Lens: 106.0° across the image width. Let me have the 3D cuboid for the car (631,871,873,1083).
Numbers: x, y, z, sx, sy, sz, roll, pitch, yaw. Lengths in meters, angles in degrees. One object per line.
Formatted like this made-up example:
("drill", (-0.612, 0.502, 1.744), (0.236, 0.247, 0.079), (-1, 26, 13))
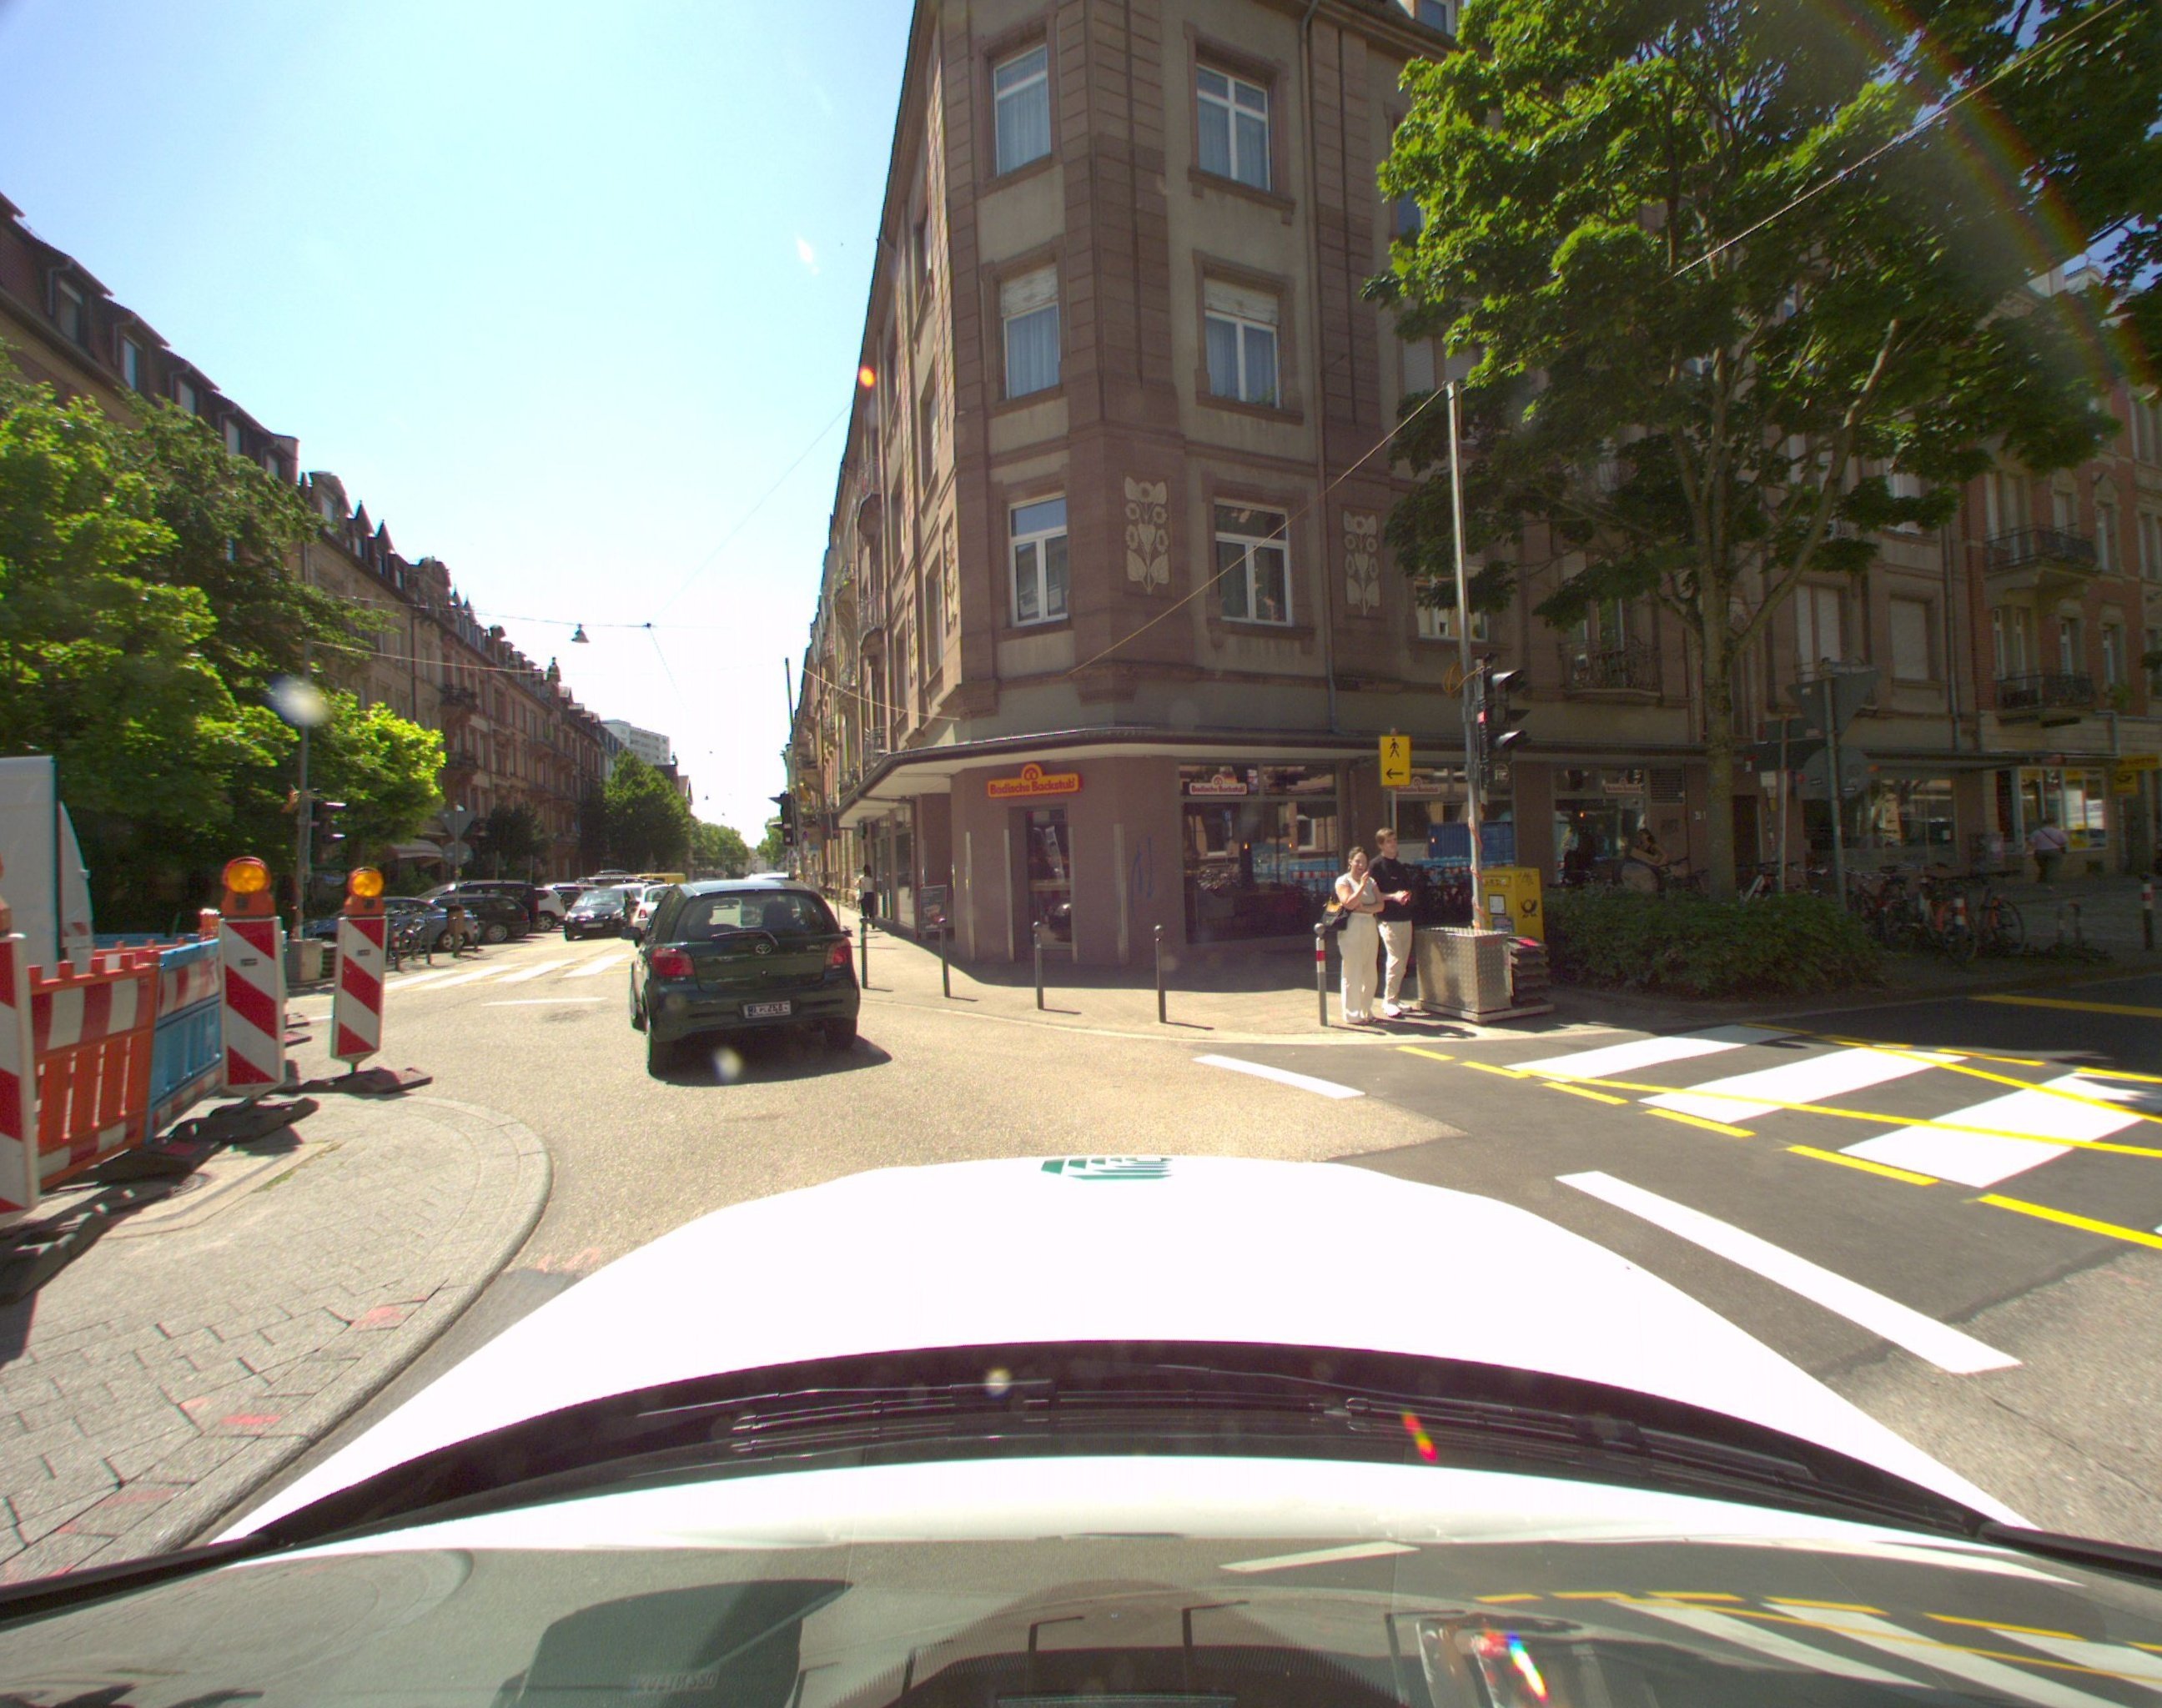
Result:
("car", (-3.242, 0.945, 7.672), (1.624, 1.485, 3.208), (-1, -1, -31))

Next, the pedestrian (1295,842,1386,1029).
("pedestrian", (2.449, 0.733, 7.675), (0.706, 1.645, 0.419), (-4, 3, -30))

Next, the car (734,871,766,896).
("car", (-21.167, 1.894, 52.195), (1.761, 1.429, 3.970), (-3, -1, -22))

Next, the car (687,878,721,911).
("car", (-20.117, 2.149, 43.530), (1.529, 1.592, 3.238), (-2, -1, -23))

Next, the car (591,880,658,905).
("car", (-32.874, 2.760, 58.691), (1.763, 1.640, 3.898), (-3, -1, 45))

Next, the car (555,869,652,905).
("car", (-30.032, 2.057, 51.325), (2.027, 1.994, 4.819), (-3, -1, 39))

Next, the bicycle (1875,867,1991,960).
("bicycle", (10.400, 0.691, 9.932), (1.769, 0.996, 0.466), (-2, 1, -26))

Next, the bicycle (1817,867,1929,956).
("bicycle", (10.188, 0.705, 10.463), (1.769, 0.996, 0.466), (-2, 1, -26))

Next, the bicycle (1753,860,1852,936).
("bicycle", (10.722, 0.627, 12.087), (1.769, 0.996, 0.466), (-2, 1, -26))

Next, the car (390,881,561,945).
("car", (-19.066, 1.781, 25.808), (1.746, 1.804, 4.025), (-2, -2, 39))

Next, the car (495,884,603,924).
("car", (-25.045, 2.337, 38.438), (1.842, 1.619, 3.946), (-3, -1, 44))

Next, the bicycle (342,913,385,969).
("bicycle", (-15.817, 1.888, 17.986), (0.494, 1.081, 1.878), (1, -2, -35))

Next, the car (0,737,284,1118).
("car", (-10.834, 0.602, 5.971), (6.646, 2.751, 2.363), (-2, 0, -21))

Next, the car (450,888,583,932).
("car", (-22.569, 2.211, 32.689), (1.842, 1.470, 3.946), (-3, -1, 27))

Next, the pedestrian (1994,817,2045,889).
("pedestrian", (21.405, -0.024, 18.572), (0.492, 1.614, 0.556), (-2, -1, -17))

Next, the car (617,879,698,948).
("car", (-10.749, 1.445, 20.843), (1.529, 1.521, 3.239), (-2, -1, -23))

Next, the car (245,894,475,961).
("car", (-17.943, 1.762, 20.413), (1.974, 1.376, 4.025), (-2, -2, 39))

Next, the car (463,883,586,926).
("car", (-24.066, 2.153, 35.350), (1.842, 1.619, 3.947), (-3, -1, 28))

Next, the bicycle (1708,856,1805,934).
("bicycle", (10.429, 0.609, 12.560), (1.769, 1.080, 0.466), (-2, 1, -26))

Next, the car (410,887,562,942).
("car", (-20.416, 2.010, 28.051), (1.738, 1.658, 4.023), (-2, -2, 45))

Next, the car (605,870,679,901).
("car", (-33.697, 2.391, 62.583), (1.974, 2.187, 4.601), (-3, -1, 41))

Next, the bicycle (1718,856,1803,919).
("bicycle", (12.025, 0.567, 14.404), (1.732, 0.996, 0.500), (-2, 1, -26))

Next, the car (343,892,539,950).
("car", (-18.246, 1.851, 23.390), (1.946, 1.412, 4.025), (-2, -2, 36))

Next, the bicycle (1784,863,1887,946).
("bicycle", (10.409, 0.666, 11.229), (1.692, 1.005, 0.466), (-2, 1, -26))

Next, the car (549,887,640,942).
("car", (-15.166, 1.840, 25.596), (1.761, 1.444, 3.970), (-3, -1, -22))

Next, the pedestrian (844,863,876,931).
("pedestrian", (-5.489, 1.063, 20.224), (0.644, 1.623, 0.798), (-2, -1, -22))

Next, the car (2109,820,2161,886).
("car", (24.860, -0.057, 17.046), (1.795, 1.438, 3.822), (-2, 0, -24))

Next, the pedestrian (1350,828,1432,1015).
("pedestrian", (3.091, 0.641, 8.129), (0.579, 1.768, 0.467), (-4, 3, -30))

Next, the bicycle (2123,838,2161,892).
("bicycle", (21.901, 0.223, 16.323), (0.537, 1.046, 1.950), (-3, -1, 31))

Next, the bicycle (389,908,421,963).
("bicycle", (-15.732, 1.873, 18.973), (0.494, 1.173, 1.665), (1, -2, -37))

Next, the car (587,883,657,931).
("car", (-18.532, 2.076, 33.067), (1.762, 1.645, 4.345), (-5, 0, -22))

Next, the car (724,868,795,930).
("car", (-10.434, 1.408, 26.489), (1.879, 1.713, 4.471), (-4, 0, -21))

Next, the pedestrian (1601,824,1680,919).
("pedestrian", (10.096, 0.311, 14.700), (0.860, 1.634, 0.781), (-2, -1, -23))

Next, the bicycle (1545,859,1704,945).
("bicycle", (7.846, 0.672, 11.782), (1.977, 1.132, 0.515), (-2, -1, -5))

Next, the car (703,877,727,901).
("car", (-27.187, 2.571, 60.539), (1.529, 1.592, 3.238), (-2, -1, -23))

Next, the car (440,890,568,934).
("car", (-21.387, 2.108, 30.266), (1.604, 1.458, 3.652), (-2, -2, 45))
